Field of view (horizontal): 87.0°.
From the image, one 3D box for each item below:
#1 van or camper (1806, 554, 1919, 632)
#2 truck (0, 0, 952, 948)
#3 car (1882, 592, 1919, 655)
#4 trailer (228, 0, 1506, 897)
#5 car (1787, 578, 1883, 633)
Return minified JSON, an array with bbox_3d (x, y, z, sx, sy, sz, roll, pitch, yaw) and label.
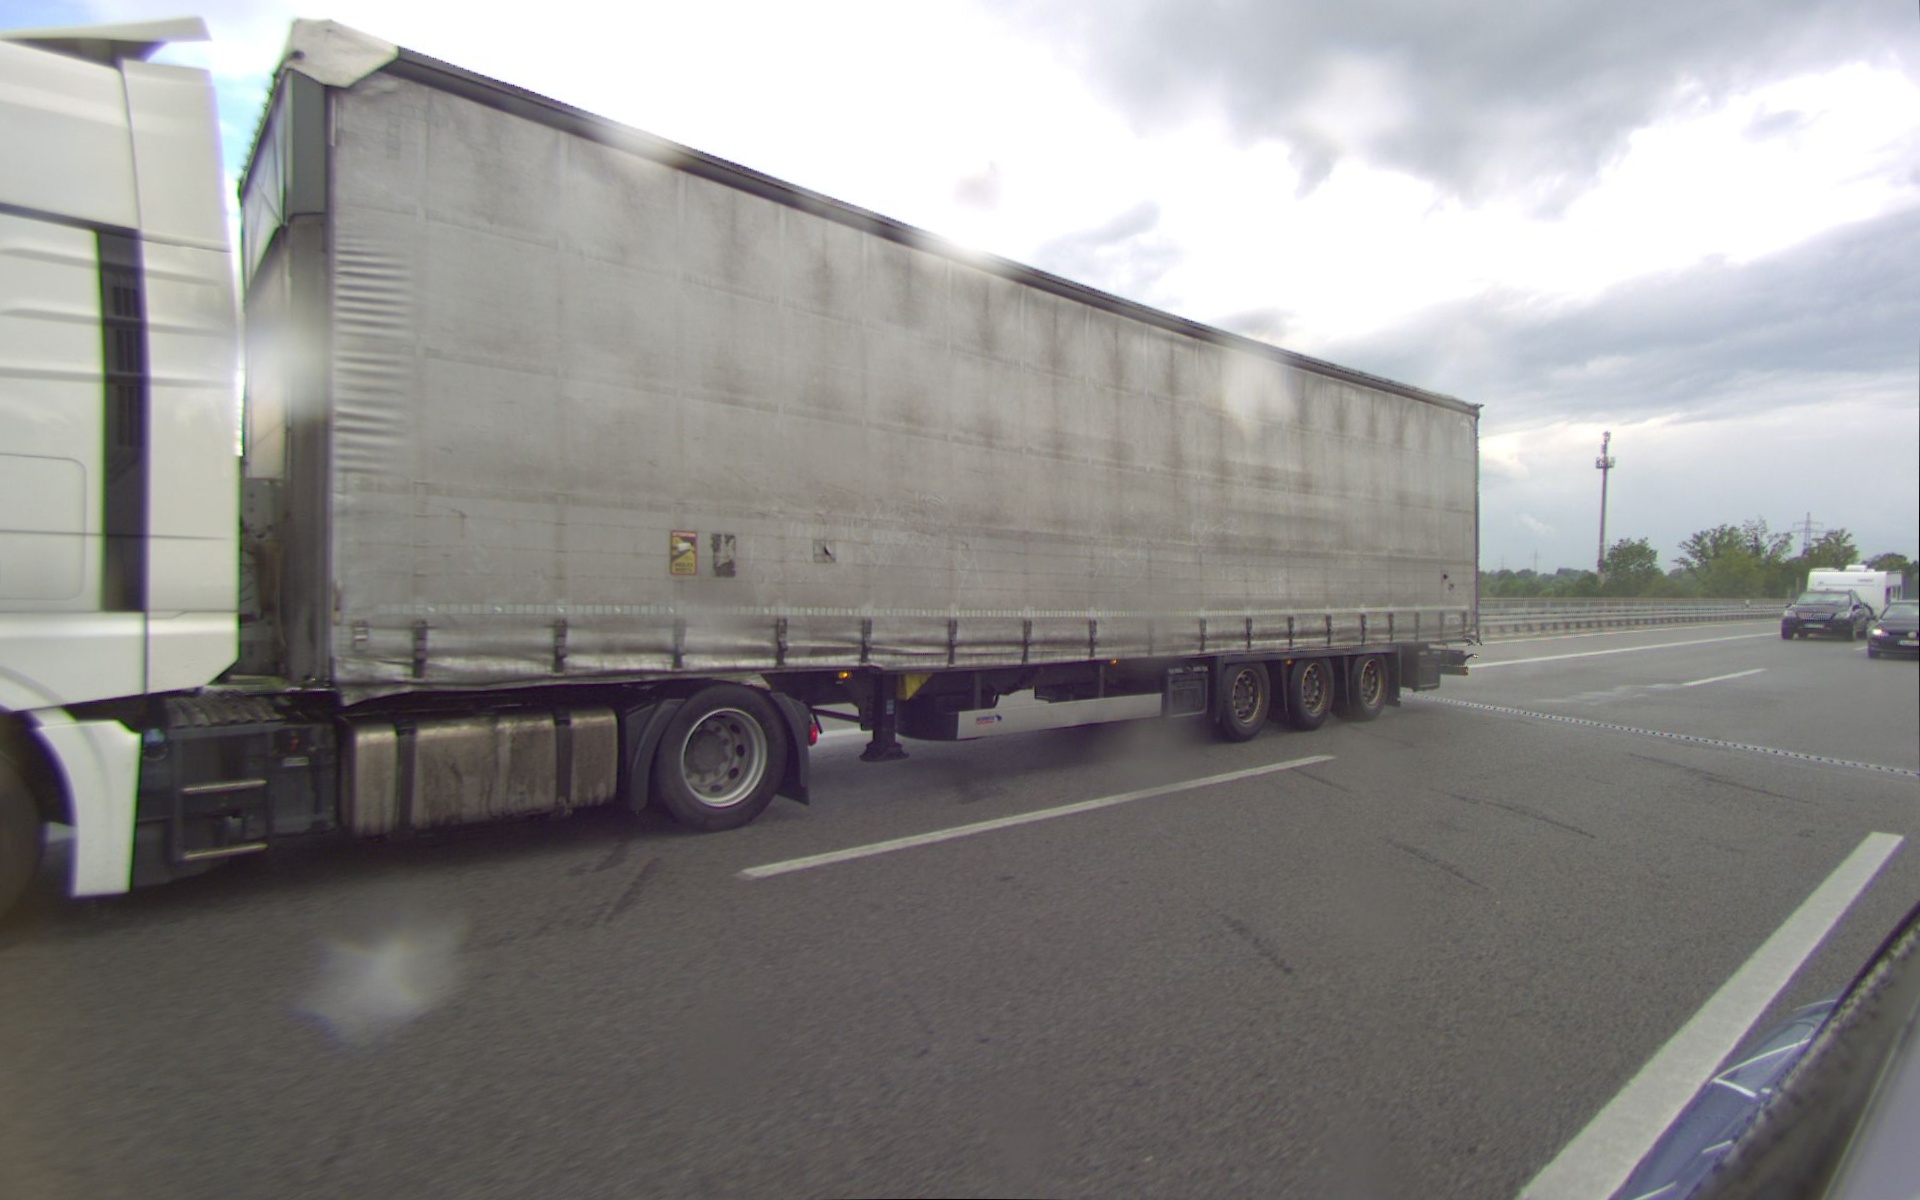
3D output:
[{"bbox_3d":[34.864,-0.284,38.948,7.082,2.773,2.388,-1,0,-41],"label":"van or camper"},{"bbox_3d":[-3.444,-0.724,6.090,6.475,4.070,2.966,0,1,-42],"label":"truck"},{"bbox_3d":[24.386,0.552,25.260,3.933,1.464,1.715,-1,1,-43],"label":"car"},{"bbox_3d":[1.243,-0.749,10.276,13.873,4.070,2.966,0,1,-41],"label":"trailer"},{"bbox_3d":[30.477,0.137,35.211,4.423,1.798,1.924,-1,1,-41],"label":"car"}]
